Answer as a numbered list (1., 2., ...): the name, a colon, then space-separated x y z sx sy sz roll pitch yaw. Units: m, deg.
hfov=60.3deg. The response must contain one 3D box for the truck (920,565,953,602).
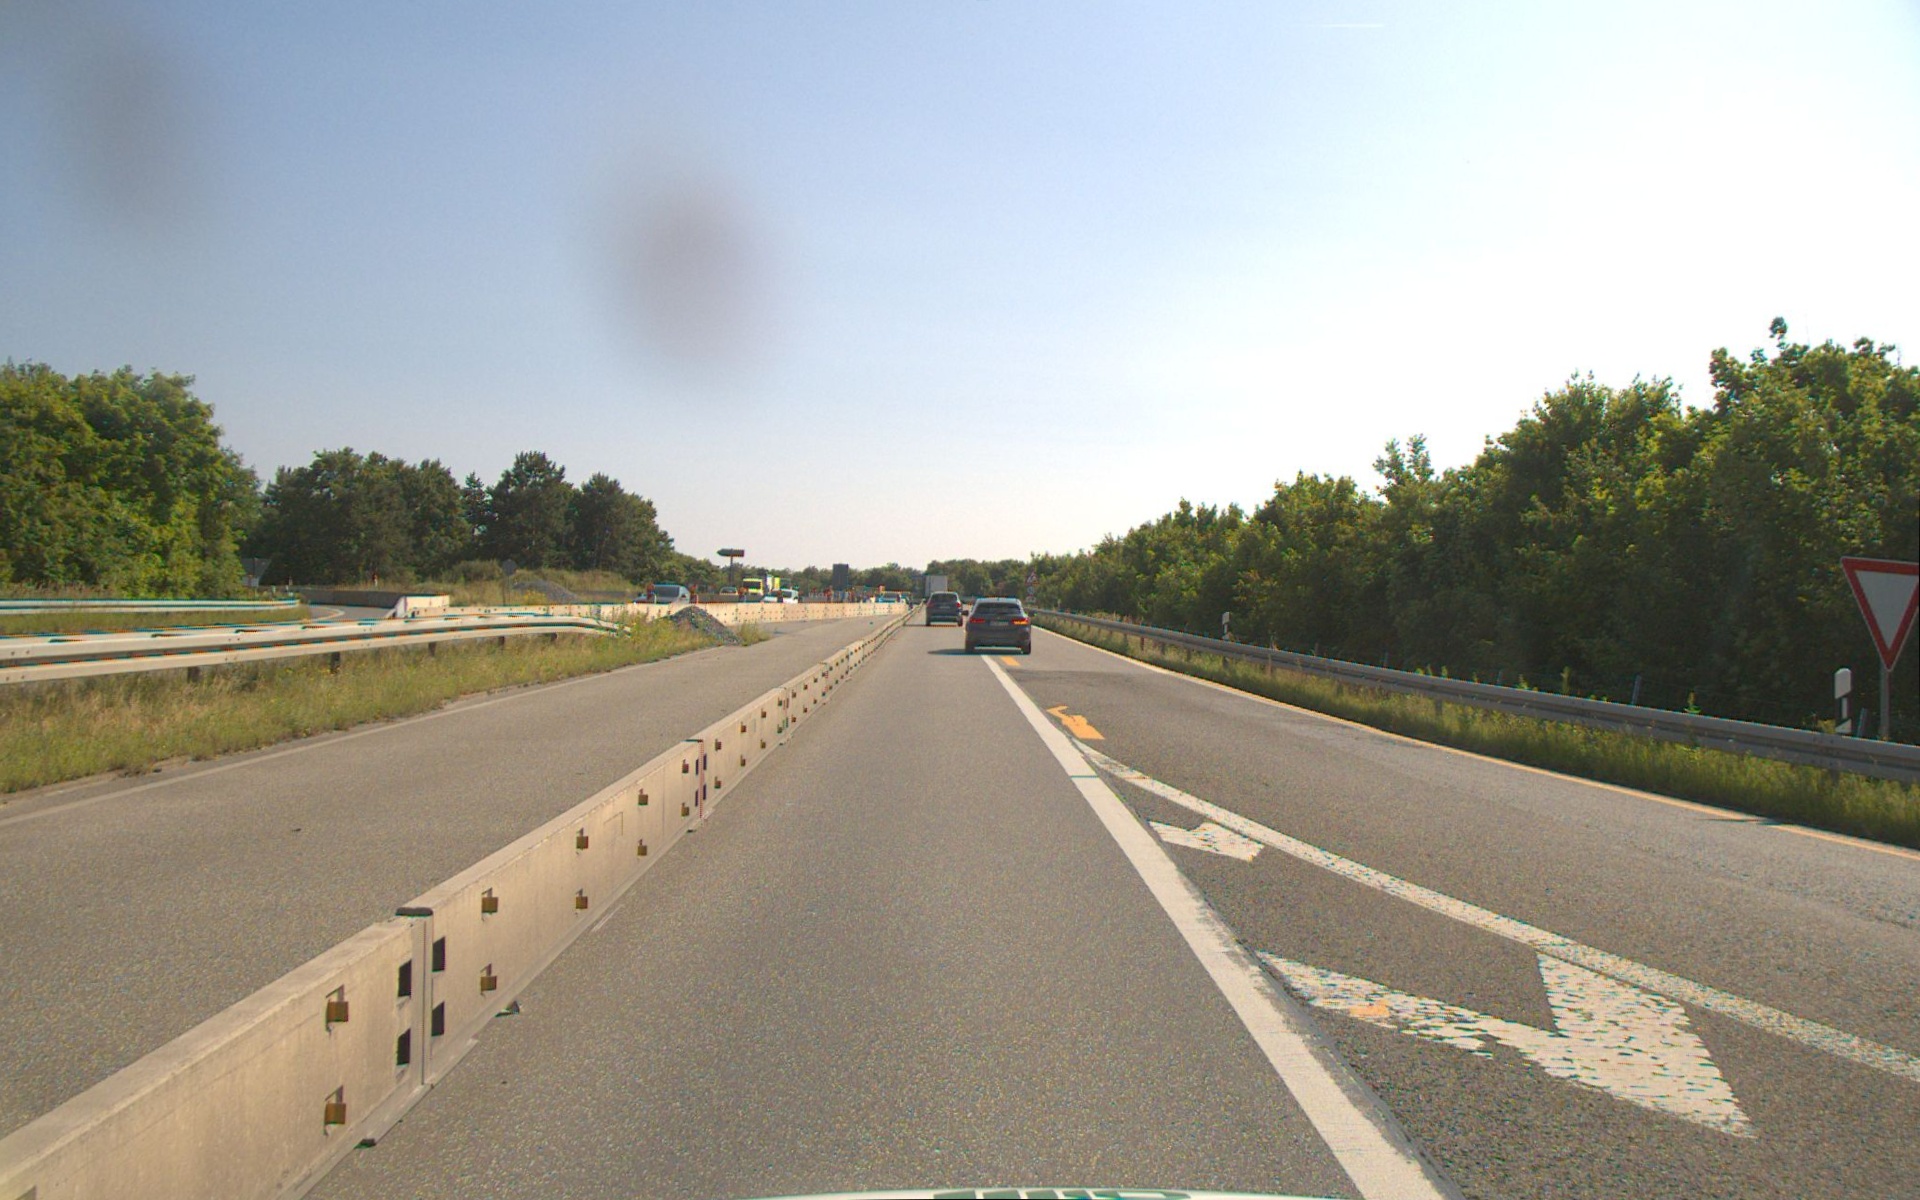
1. truck: -3.361 -2.291 232.958 3.687 4.997 14.124 2 0 -4

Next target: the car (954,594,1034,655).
1. car: 0.872 0.628 44.706 1.882 1.520 3.999 2 0 -2

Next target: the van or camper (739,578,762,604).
1. van or camper: -19.636 -0.824 155.184 1.955 2.419 6.193 -1 0 -6

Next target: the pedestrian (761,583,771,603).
1. pedestrian: -17.772 -0.661 151.601 0.728 1.852 0.795 2 0 -12

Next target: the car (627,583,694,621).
1. car: -12.025 0.066 66.685 1.802 1.466 4.813 0 0 0

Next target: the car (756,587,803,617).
1. car: -10.065 0.104 92.567 1.779 1.636 4.442 1 0 5

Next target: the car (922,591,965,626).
1. car: -0.767 0.403 79.035 1.953 1.594 4.000 1 0 0
